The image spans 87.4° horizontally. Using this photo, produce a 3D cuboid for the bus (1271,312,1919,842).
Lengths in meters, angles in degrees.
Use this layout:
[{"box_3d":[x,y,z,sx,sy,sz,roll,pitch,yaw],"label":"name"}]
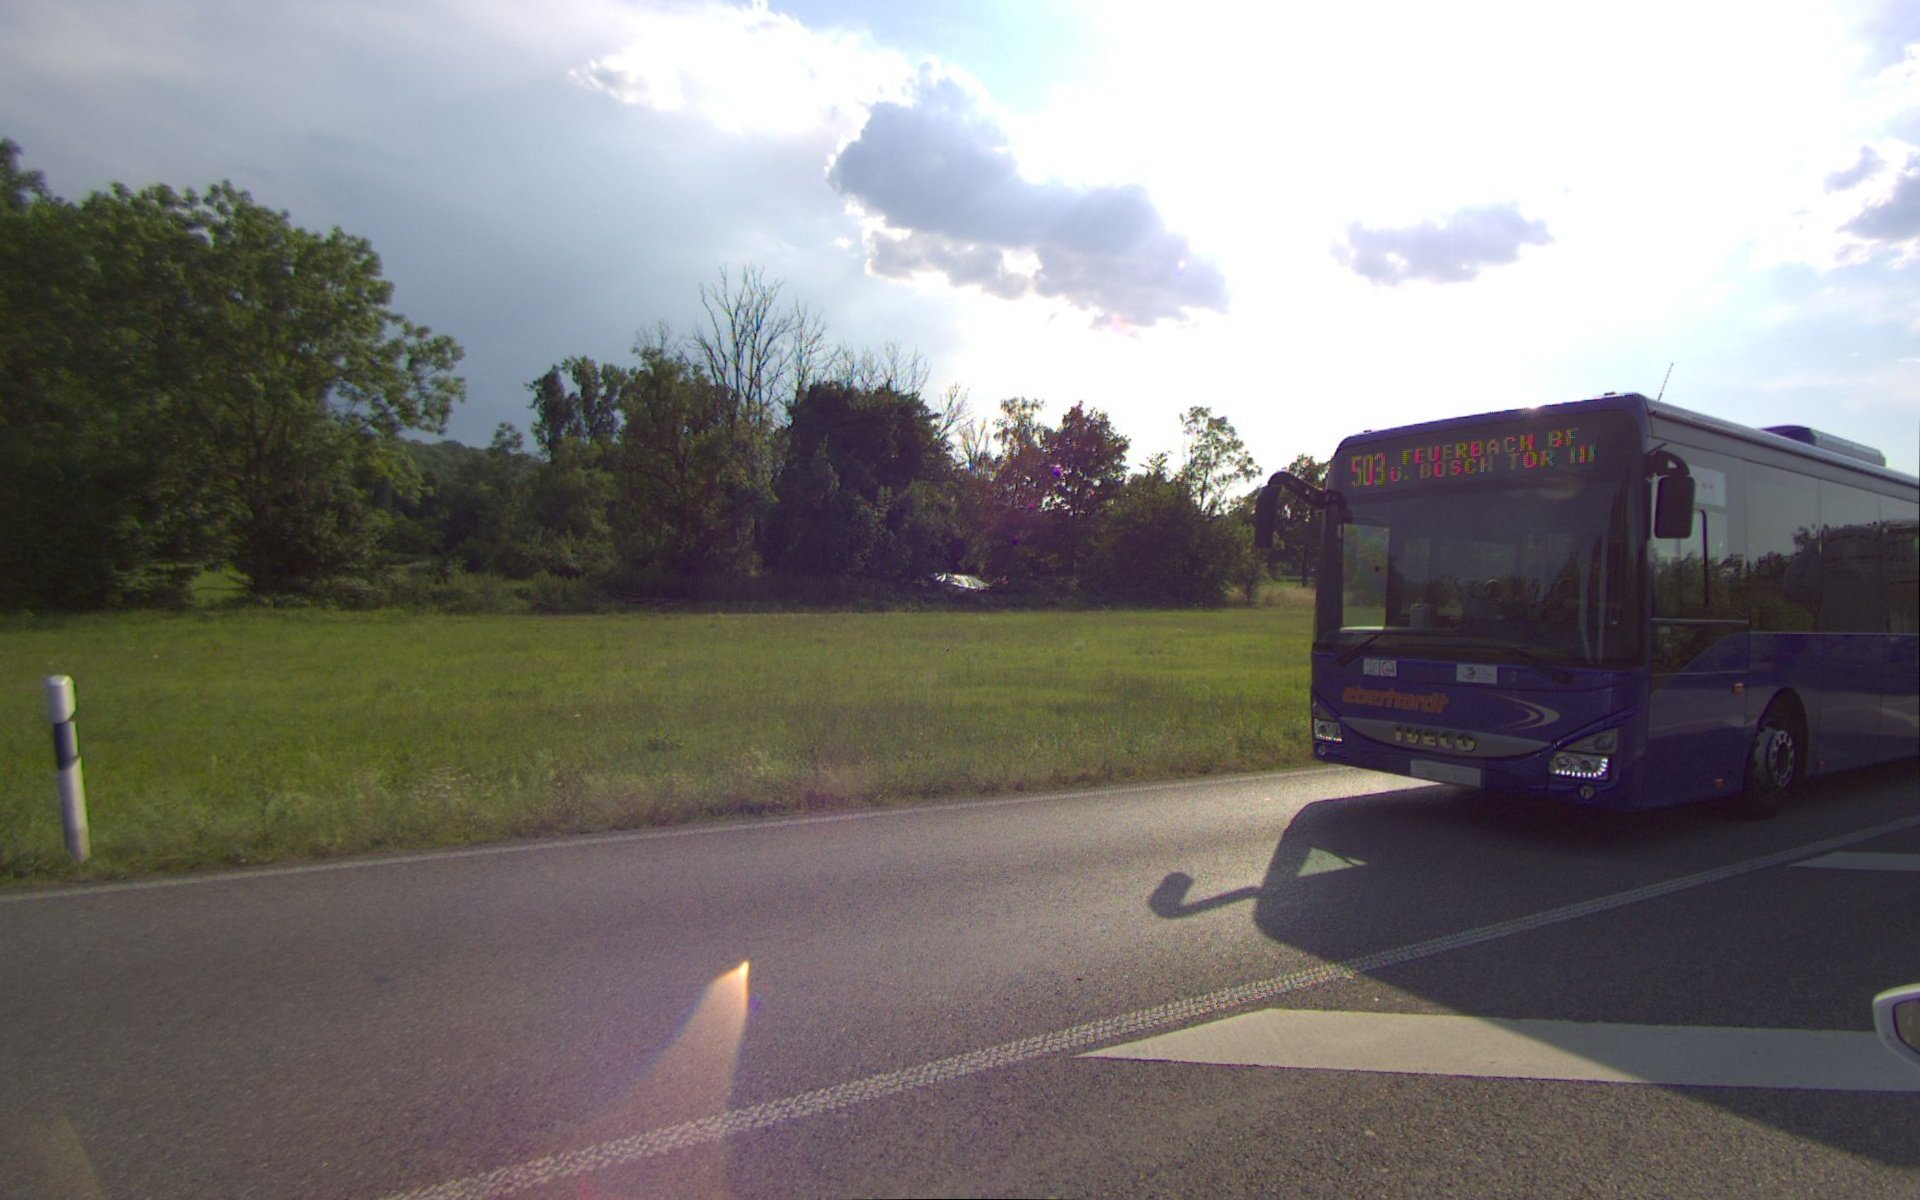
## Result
[{"box_3d":[8.412,0.063,10.620,12.000,3.224,2.777,3,0,-34],"label":"bus"}]
